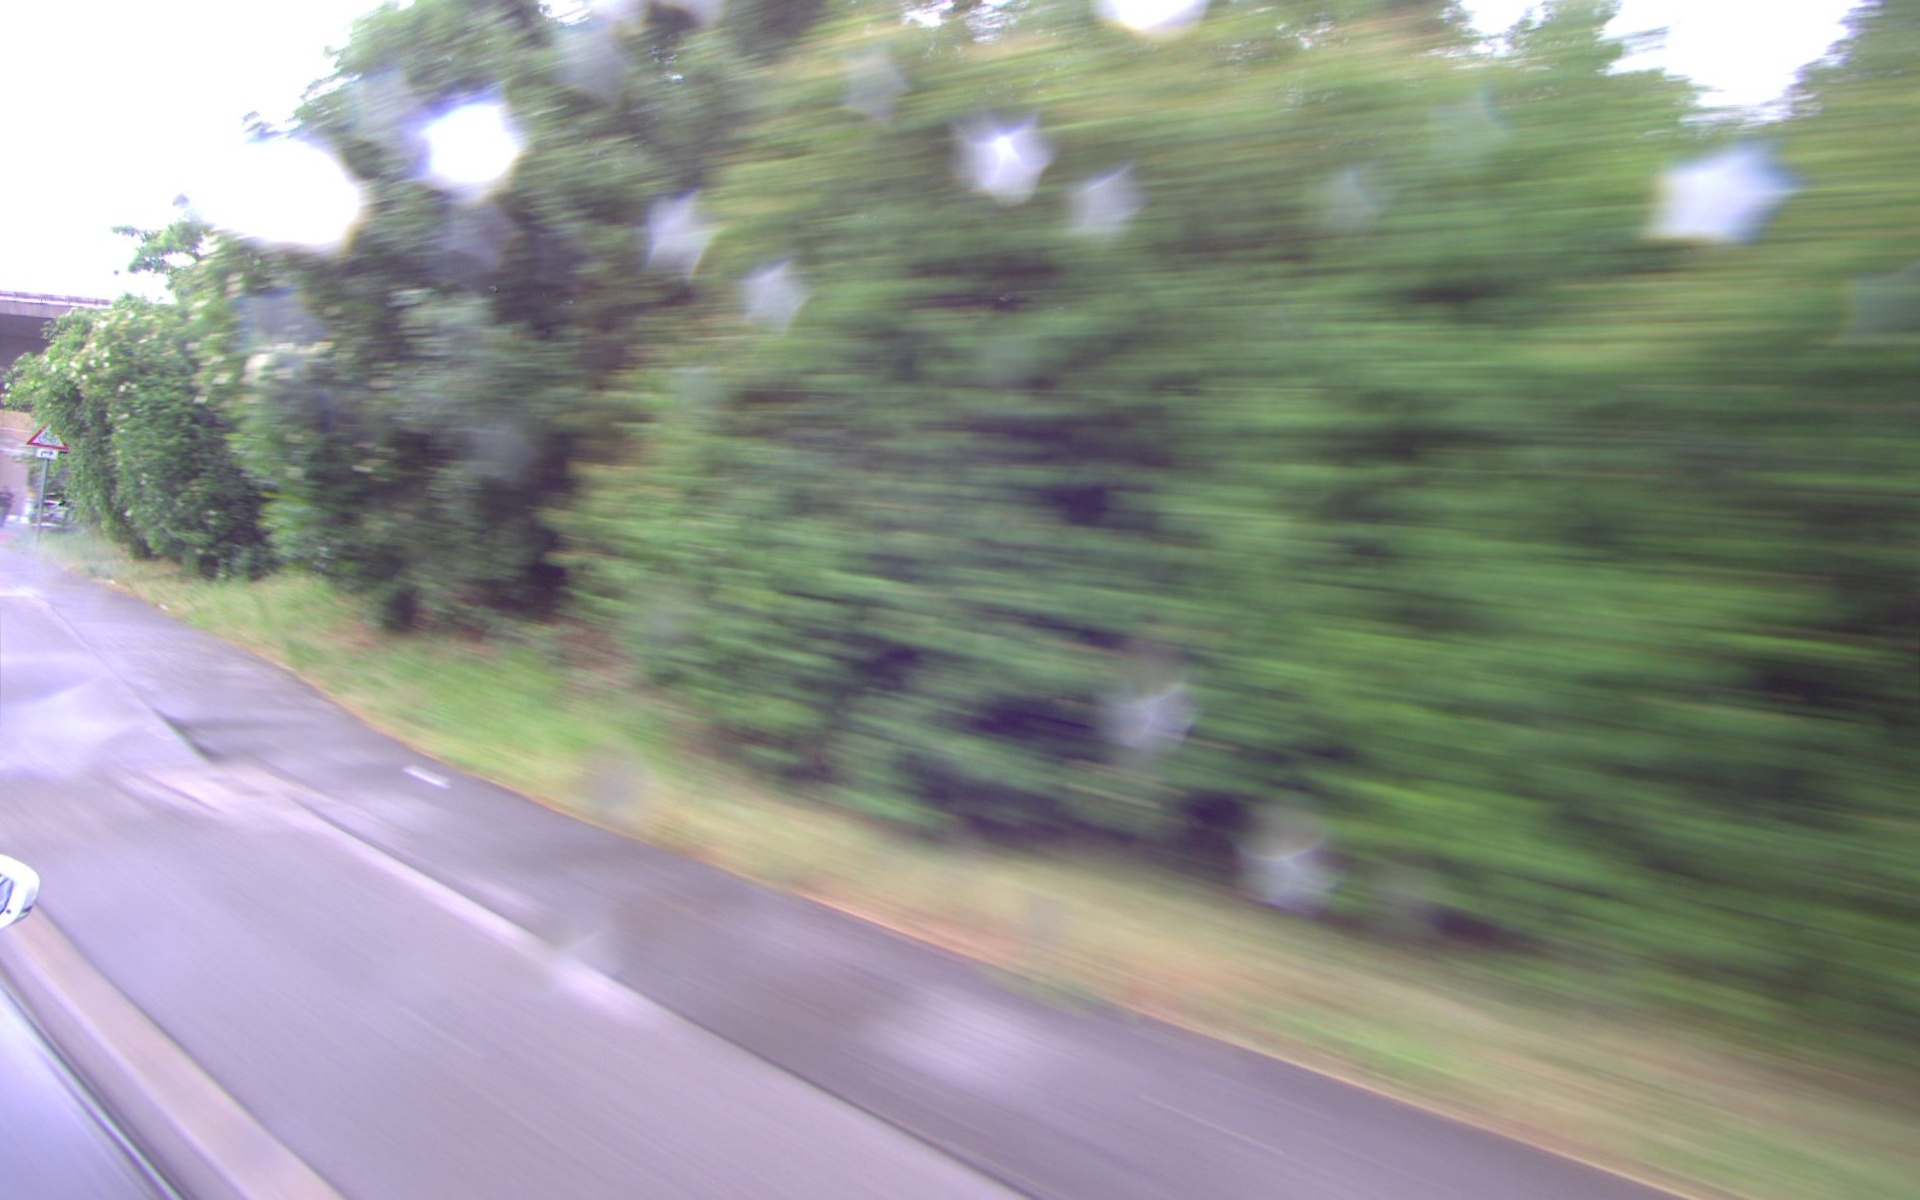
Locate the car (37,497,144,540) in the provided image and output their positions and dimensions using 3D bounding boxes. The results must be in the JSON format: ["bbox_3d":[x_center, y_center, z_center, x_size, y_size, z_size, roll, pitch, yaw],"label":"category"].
[{"bbox_3d":[-47.267,-4.404,54.800,1.930,1.649,4.028,7,-2,6],"label":"car"}]

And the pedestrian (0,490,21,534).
[{"bbox_3d":[-43.030,-3.983,45.381,0.895,1.842,0.598,6,-3,32],"label":"pedestrian"}]

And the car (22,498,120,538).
[{"bbox_3d":[-49.518,-4.544,56.118,1.768,1.539,3.740,7,-2,6],"label":"car"}]
